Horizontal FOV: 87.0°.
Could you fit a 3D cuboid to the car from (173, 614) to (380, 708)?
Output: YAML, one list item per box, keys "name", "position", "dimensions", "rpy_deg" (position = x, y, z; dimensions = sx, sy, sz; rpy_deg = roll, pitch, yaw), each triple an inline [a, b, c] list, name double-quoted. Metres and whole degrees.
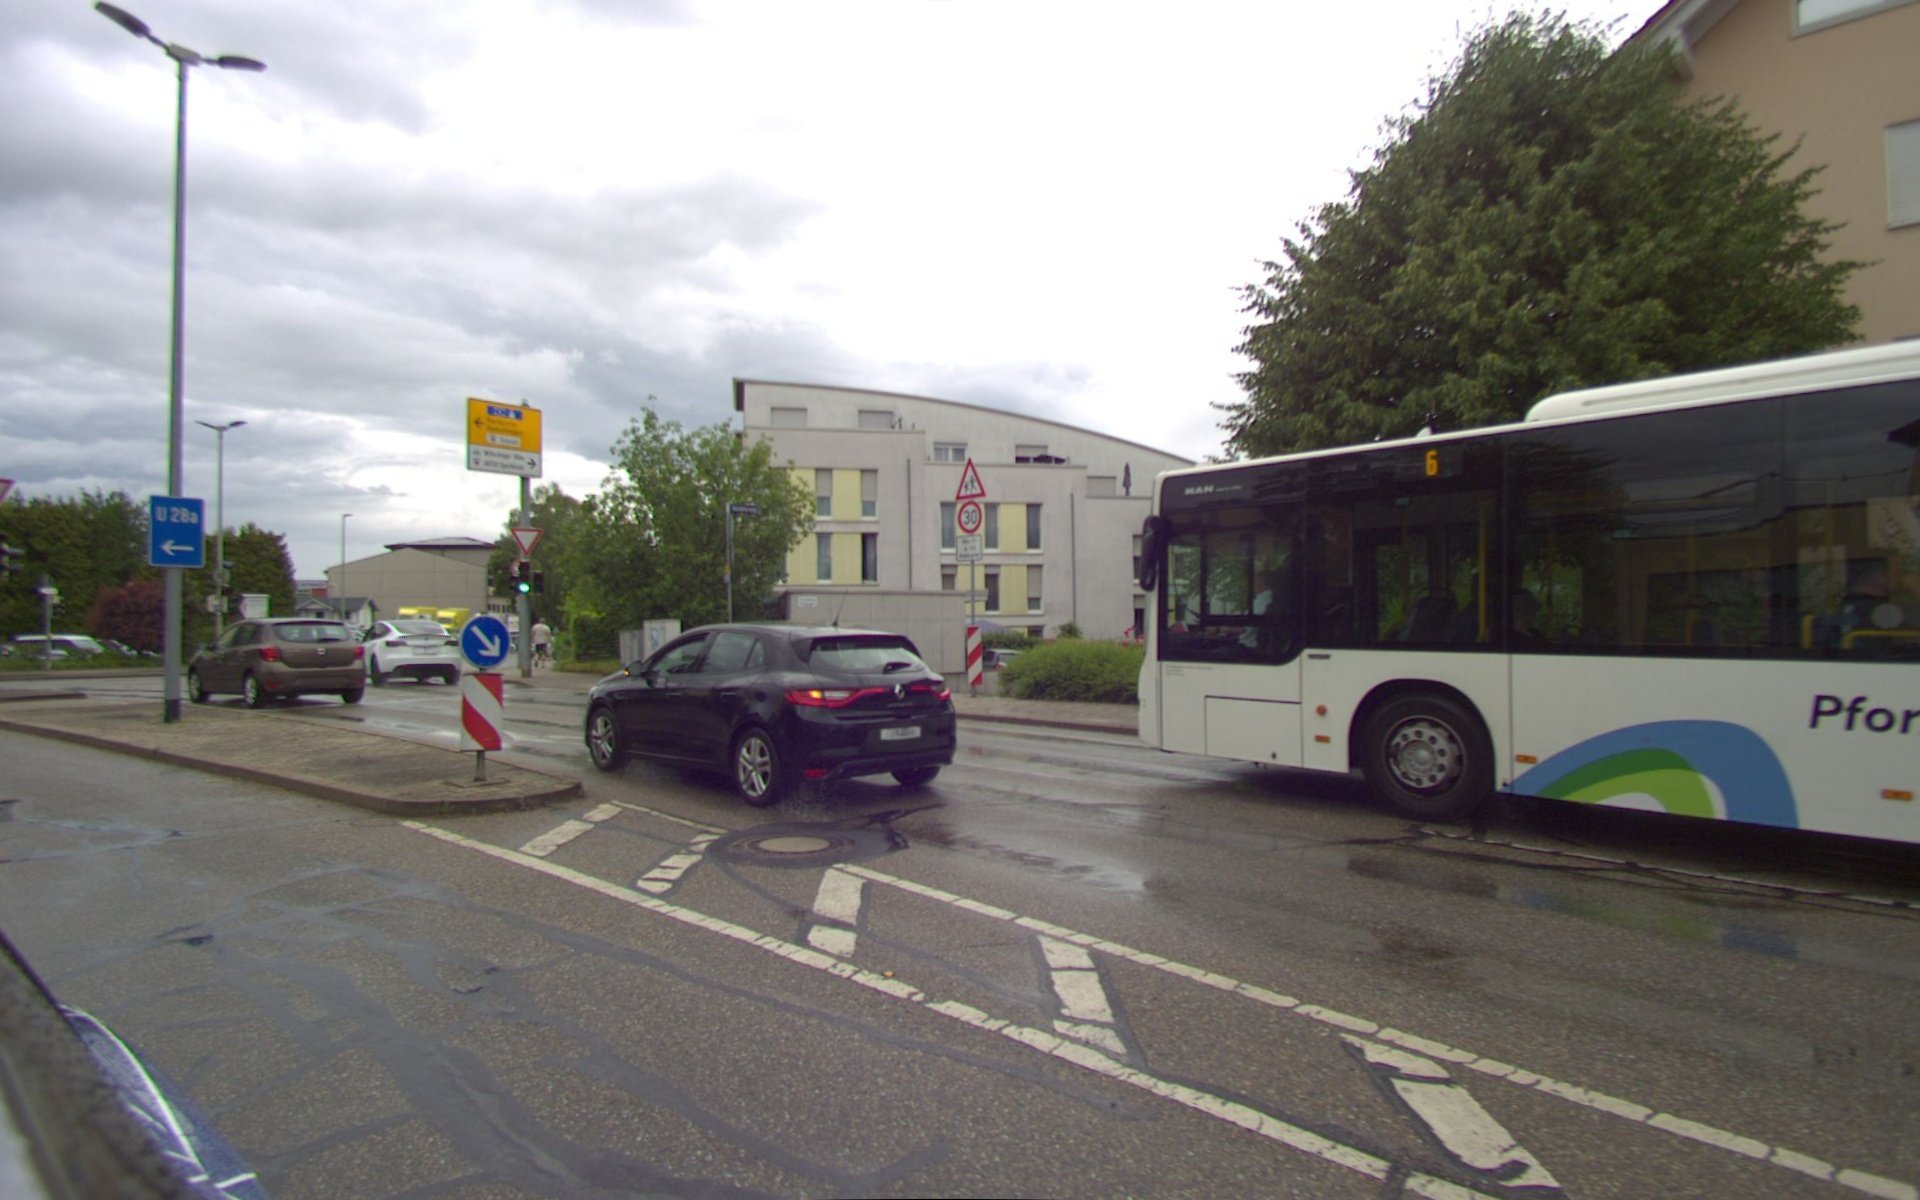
- name: "car"
  position: [-12.174, 0.997, 17.959]
  dimensions: [3.929, 1.498, 1.806]
  rpy_deg: [-1, -1, 36]

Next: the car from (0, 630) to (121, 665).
- name: "car"
  position: [-40.341, 2.112, 45.274]
  dimensions: [3.943, 1.475, 2.000]
  rpy_deg: [0, -1, -1]

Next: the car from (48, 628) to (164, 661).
- name: "car"
  position: [-40.223, 2.096, 47.746]
  dimensions: [3.941, 1.404, 1.734]
  rpy_deg: [0, 1, -3]

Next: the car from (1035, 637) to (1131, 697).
- name: "car"
  position: [4.382, 2.371, 36.876]
  dimensions: [2.001, 2.029, 4.666]
  rpy_deg: [2, -2, -12]

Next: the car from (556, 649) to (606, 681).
- name: "car"
  position: [-20.506, 3.492, 54.936]
  dimensions: [1.967, 1.567, 4.009]
  rpy_deg: [-1, -1, -12]

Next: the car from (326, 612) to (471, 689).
- name: "car"
  position: [-14.351, 1.209, 25.745]
  dimensions: [4.602, 1.738, 1.926]
  rpy_deg: [-1, 0, 44]

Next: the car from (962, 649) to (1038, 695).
- name: "car"
  position: [1.399, 2.597, 36.936]
  dimensions: [1.830, 1.513, 3.844]
  rpy_deg: [2, -2, -12]

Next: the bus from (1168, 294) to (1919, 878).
- name: "bus"
  position: [5.724, -0.037, 6.301]
  dimensions: [2.514, 3.023, 9.221]
  rpy_deg: [2, -3, -39]

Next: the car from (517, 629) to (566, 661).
- name: "car"
  position: [-25.791, 2.751, 62.548]
  dimensions: [1.968, 1.682, 4.009]
  rpy_deg: [0, 2, -10]

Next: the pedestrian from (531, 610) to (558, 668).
- name: "pedestrian"
  position: [-14.975, 1.396, 36.496]
  dimensions: [0.835, 2.029, 0.804]
  rpy_deg: [0, -1, -18]

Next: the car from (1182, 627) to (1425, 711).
- name: "car"
  position: [6.600, 1.278, 19.800]
  dimensions: [1.793, 1.450, 4.211]
  rpy_deg: [3, -3, -39]

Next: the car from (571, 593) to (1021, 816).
- name: "car"
  position: [-1.650, 0.756, 9.127]
  dimensions: [4.176, 1.530, 1.928]
  rpy_deg: [-1, -2, 45]

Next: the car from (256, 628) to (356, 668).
- name: "car"
  position: [-29.090, 2.083, 45.169]
  dimensions: [1.971, 1.652, 4.002]
  rpy_deg: [0, -1, -3]
